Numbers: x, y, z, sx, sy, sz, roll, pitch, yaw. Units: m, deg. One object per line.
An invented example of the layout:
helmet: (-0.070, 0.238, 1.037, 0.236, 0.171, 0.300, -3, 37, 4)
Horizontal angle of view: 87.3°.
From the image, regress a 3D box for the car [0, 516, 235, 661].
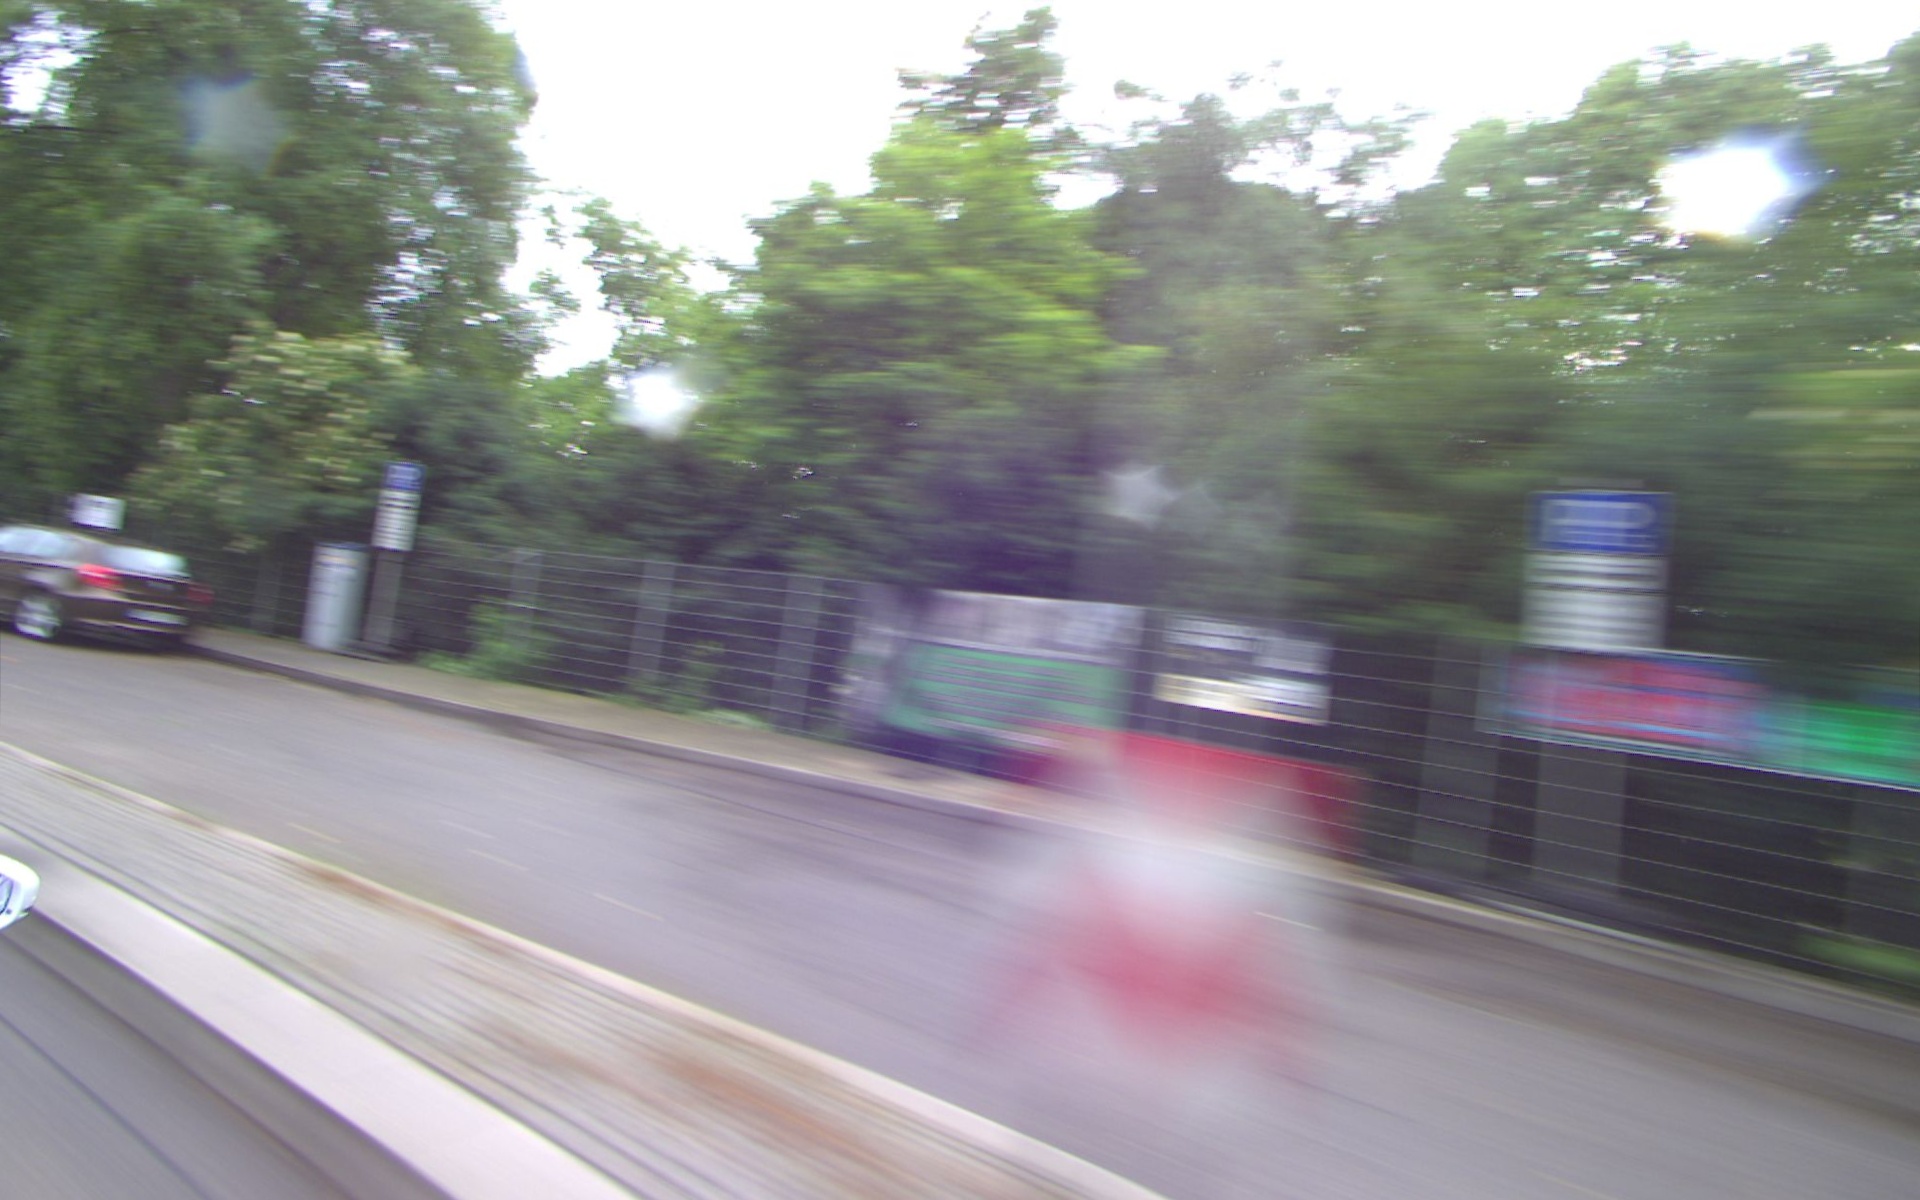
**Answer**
car: (-12.211, -0.271, 13.483, 4.289, 1.441, 1.697, 8, -5, 18)
